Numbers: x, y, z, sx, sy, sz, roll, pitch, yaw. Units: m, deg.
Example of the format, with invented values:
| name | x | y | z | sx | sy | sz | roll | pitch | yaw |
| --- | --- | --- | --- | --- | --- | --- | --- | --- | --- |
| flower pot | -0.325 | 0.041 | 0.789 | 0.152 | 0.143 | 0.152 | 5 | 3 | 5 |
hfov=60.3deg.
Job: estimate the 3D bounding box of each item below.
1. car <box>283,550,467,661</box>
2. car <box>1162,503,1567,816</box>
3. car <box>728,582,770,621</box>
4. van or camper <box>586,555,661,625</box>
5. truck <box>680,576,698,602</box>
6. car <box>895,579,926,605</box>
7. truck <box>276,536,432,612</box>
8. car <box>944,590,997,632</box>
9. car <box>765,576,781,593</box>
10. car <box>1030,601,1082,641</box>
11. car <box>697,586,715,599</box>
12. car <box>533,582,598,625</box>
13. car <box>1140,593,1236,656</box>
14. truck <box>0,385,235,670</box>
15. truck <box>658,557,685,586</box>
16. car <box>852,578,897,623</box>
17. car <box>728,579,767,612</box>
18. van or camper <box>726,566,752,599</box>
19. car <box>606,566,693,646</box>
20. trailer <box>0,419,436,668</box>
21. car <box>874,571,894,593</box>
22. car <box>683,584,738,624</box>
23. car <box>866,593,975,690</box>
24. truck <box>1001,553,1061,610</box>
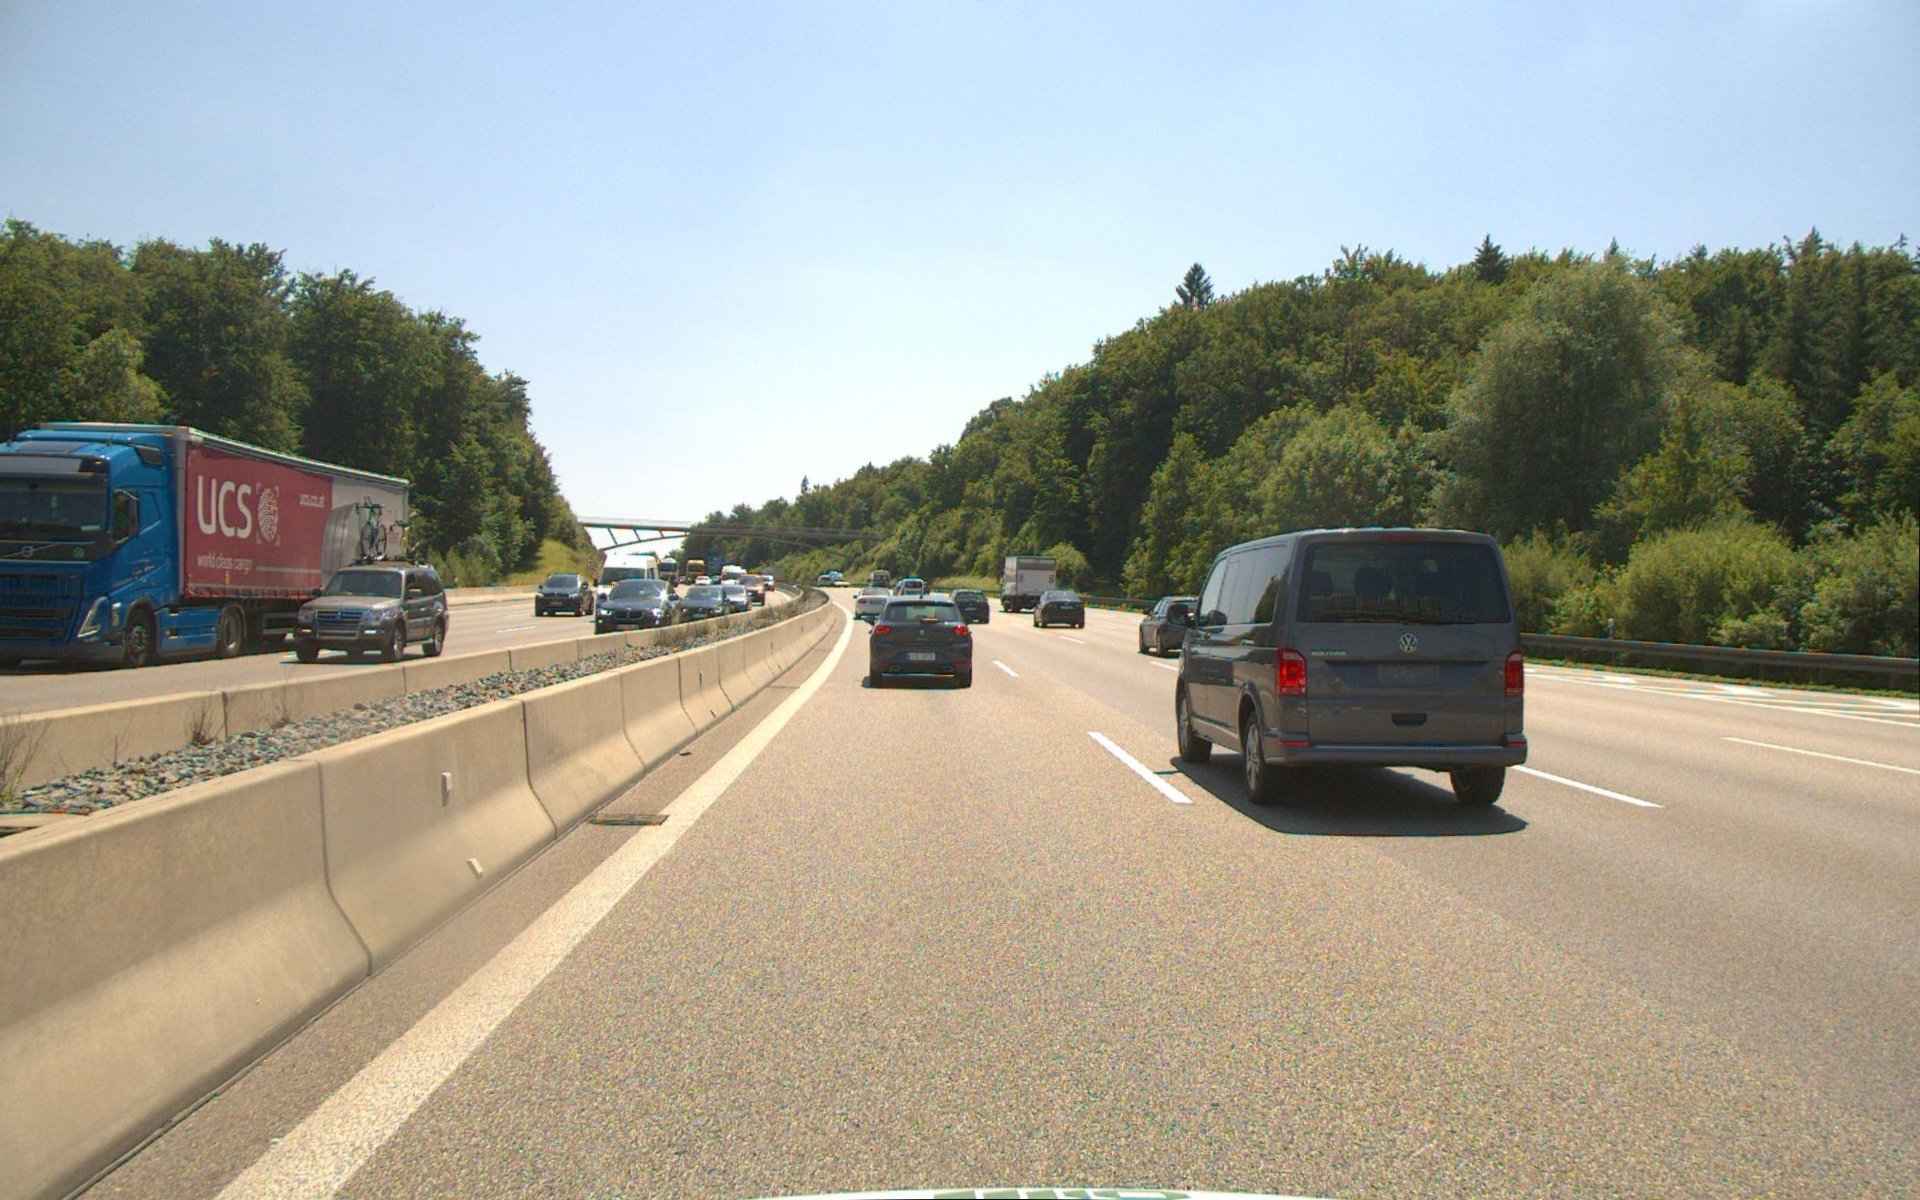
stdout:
| name | x | y | z | sx | sy | sz | roll | pitch | yaw |
| --- | --- | --- | --- | --- | --- | --- | --- | --- | --- |
| car | -11.386 | 0.102 | 32.562 | 1.953 | 2.001 | 4.782 | 1 | 0 | -1 |
| car | 3.028 | 0.397 | 13.626 | 1.923 | 2.069 | 5.081 | 1 | 0 | -2 |
| car | -10.191 | 0.096 | 80.100 | 1.655 | 1.755 | 3.997 | 2 | -2 | -3 |
| van or camper | -13.379 | -0.383 | 66.173 | 2.058 | 2.611 | 6.395 | 1 | 0 | -4 |
| truck | -41.517 | -1.684 | 253.496 | 2.483 | 4.009 | 6.791 | 1 | 0 | -7 |
| car | -3.557 | -0.613 | 117.793 | 2.061 | 1.774 | 4.684 | 1 | 1 | -4 |
| truck | -20.328 | -0.787 | 56.036 | 2.005 | 2.294 | 8.822 | 2 | 0 | 0 |
| car | 0.420 | 0.509 | 71.775 | 1.954 | 1.758 | 4.145 | 1 | -1 | -4 |
| car | -21.160 | -1.778 | 187.107 | 1.784 | 1.904 | 4.582 | 1 | 1 | -6 |
| car | 3.807 | 0.806 | 66.254 | 1.632 | 1.433 | 4.901 | 1 | 1 | -2 |
| car | -30.466 | -0.877 | 198.592 | 1.728 | 1.508 | 4.490 | 2 | 0 | -4 |
| car | -17.211 | 0.127 | 72.354 | 1.954 | 1.793 | 5.064 | 1 | 0 | -4 |
| car | 5.526 | 0.566 | 40.508 | 1.668 | 1.420 | 4.152 | 1 | 0 | -2 |
| truck | -15.301 | -1.126 | 27.769 | 3.710 | 4.250 | 5.875 | 2 | 0 | -3 |
| truck | -37.306 | -3.669 | 214.357 | 2.559 | 3.526 | 9.870 | 2 | 0 | -5 |
| car | -3.963 | 0.035 | 77.288 | 1.971 | 1.878 | 3.998 | 1 | -3 | -2 |
| car | -13.617 | -0.265 | 106.301 | 2.192 | 2.049 | 4.226 | 1 | 0 | -4 |
| van or camper | -20.151 | -1.572 | 151.180 | 1.954 | 2.848 | 7.407 | 1 | 0 | -5 |
| car | -8.317 | 0.211 | 44.671 | 1.735 | 1.978 | 5.081 | 2 | -1 | -5 |
| trailer | -15.683 | -0.994 | 36.986 | 3.759 | 4.355 | 14.469 | 2 | 0 | -2 |
| car | -8.747 | -2.012 | 190.337 | 2.220 | 2.413 | 4.699 | 1 | 0 | -3 |
| car | -9.215 | 0.147 | 61.359 | 1.608 | 1.373 | 3.997 | 2 | 0 | -3 |
| car | -0.692 | 0.643 | 27.972 | 1.673 | 1.458 | 3.999 | 1 | 0 | -2 |
| truck | 4.158 | -1.088 | 98.542 | 2.926 | 3.222 | 7.571 | 1 | 1 | -2 |
